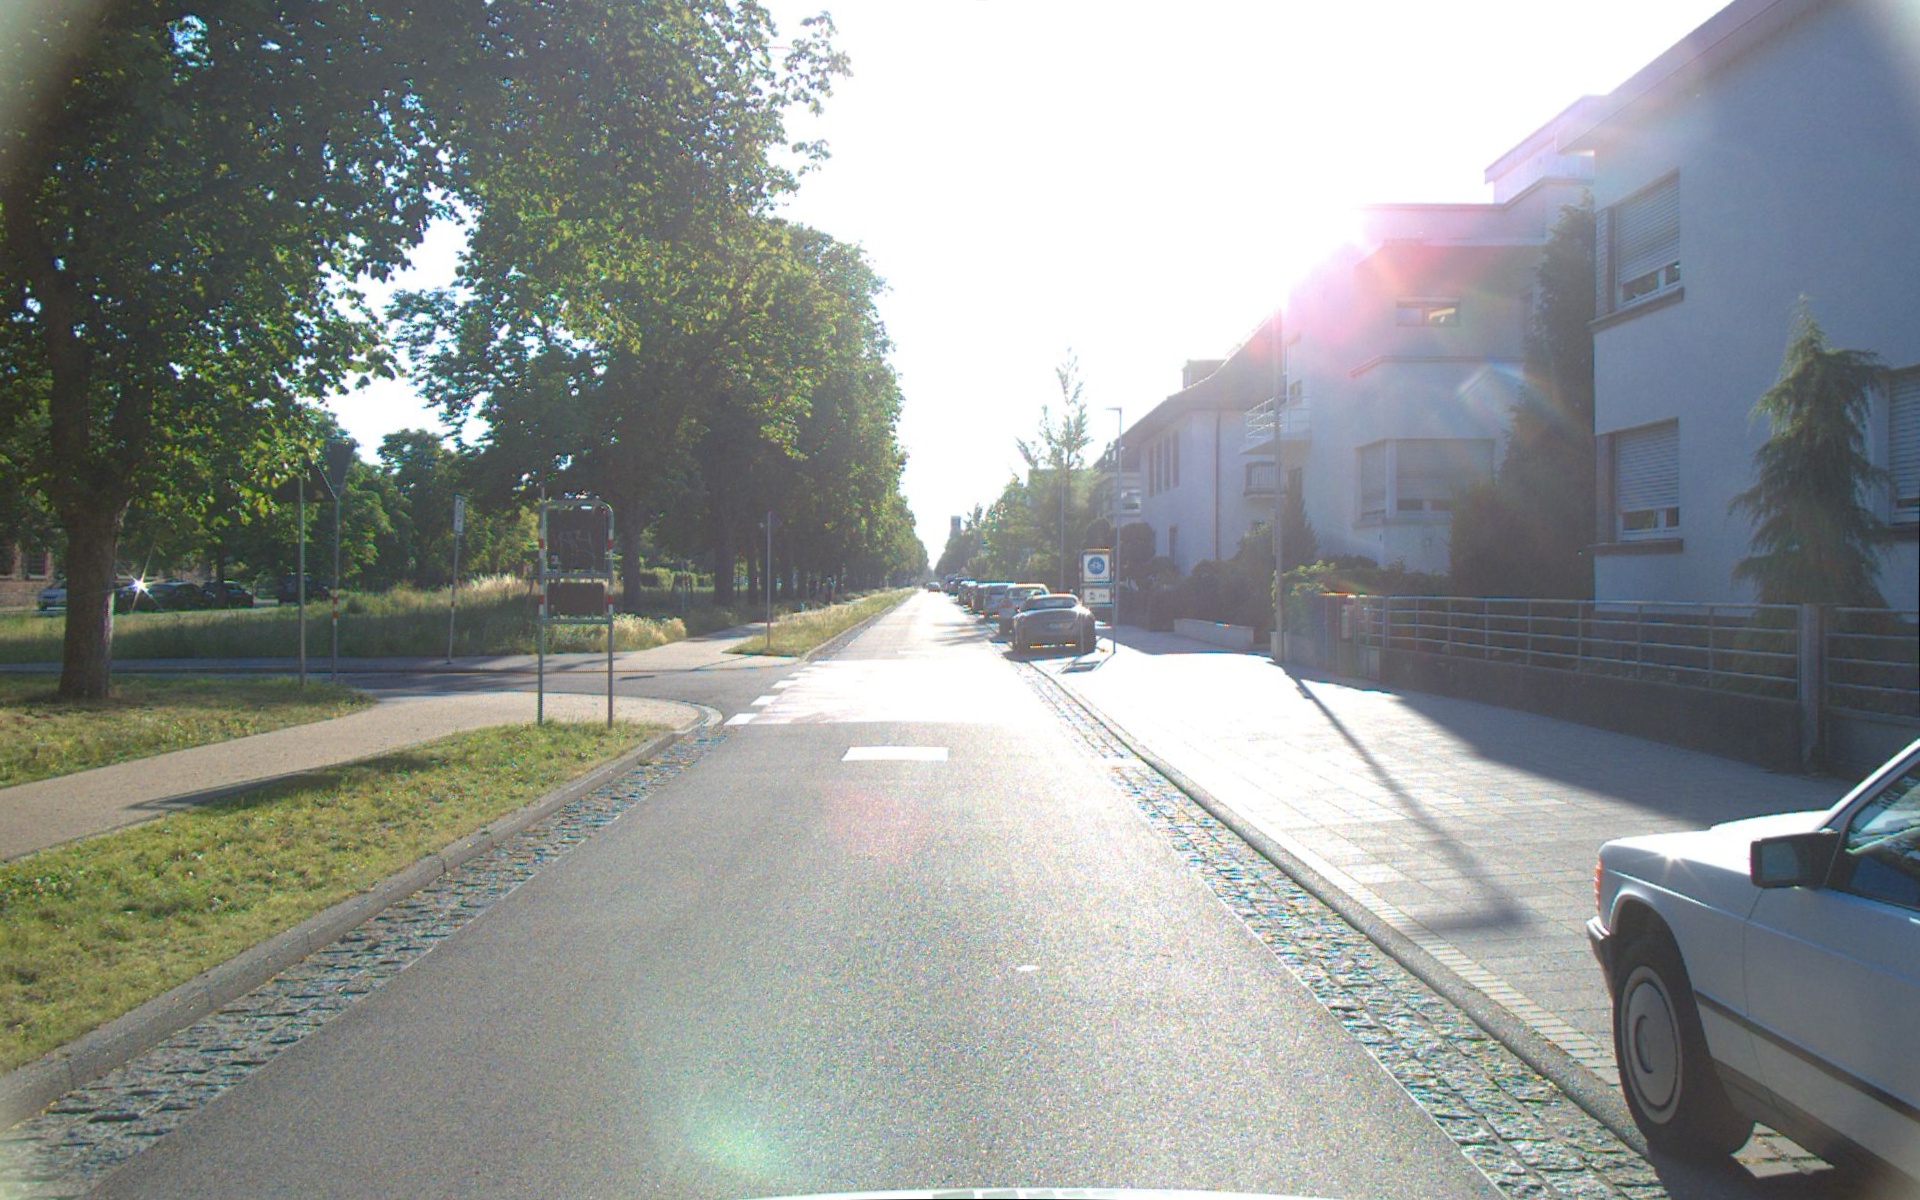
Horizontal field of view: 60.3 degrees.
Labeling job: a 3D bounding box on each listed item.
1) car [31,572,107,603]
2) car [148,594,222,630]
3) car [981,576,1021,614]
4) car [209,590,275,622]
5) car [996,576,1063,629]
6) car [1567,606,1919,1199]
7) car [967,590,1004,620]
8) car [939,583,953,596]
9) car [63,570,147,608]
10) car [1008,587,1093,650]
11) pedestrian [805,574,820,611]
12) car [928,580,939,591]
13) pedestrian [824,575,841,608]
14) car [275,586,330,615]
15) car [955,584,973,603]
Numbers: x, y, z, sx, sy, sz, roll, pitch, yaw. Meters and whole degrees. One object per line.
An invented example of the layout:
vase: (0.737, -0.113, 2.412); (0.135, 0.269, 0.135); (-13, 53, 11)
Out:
car: (-43.227, -0.624, 80.317); (1.596, 1.430, 3.999); (1, 1, -1)
car: (-37.577, 0.553, 80.294); (1.658, 1.625, 4.220); (1, 1, -2)
car: (1.745, -0.226, 71.215); (1.594, 1.531, 3.633); (-2, 1, 0)
car: (-37.468, 0.286, 86.415); (1.658, 1.625, 4.220); (1, 1, -2)
car: (2.120, 0.061, 51.089); (1.709, 1.500, 3.921); (-3, 1, -2)
car: (2.710, 0.756, 3.028); (1.532, 1.414, 4.374); (-1, 1, -1)
car: (1.316, 0.255, 87.635); (1.702, 1.474, 4.195); (-1, 0, -2)
car: (-1.738, -1.257, 201.208); (1.618, 1.568, 3.266); (1, 0, 0)
car: (-38.337, -0.517, 74.234); (1.658, 1.625, 4.220); (1, 1, -2)
car: (2.136, 0.404, 39.899); (1.738, 1.311, 4.272); (-3, 1, 0)
pedestrian: (-7.337, -0.380, 82.209); (0.611, 1.863, 0.886); (0, 1, 2)
car: (-3.929, -2.146, 245.975); (1.618, 1.568, 3.266); (1, 0, -1)
pedestrian: (-6.374, -0.411, 82.714); (0.767, 1.642, 0.952); (0, 1, 2)
car: (-38.316, 0.013, 96.488); (1.658, 1.625, 4.220); (1, 1, -2)
car: (0.357, -0.573, 138.434); (1.467, 1.594, 3.266); (0, 0, 0)
